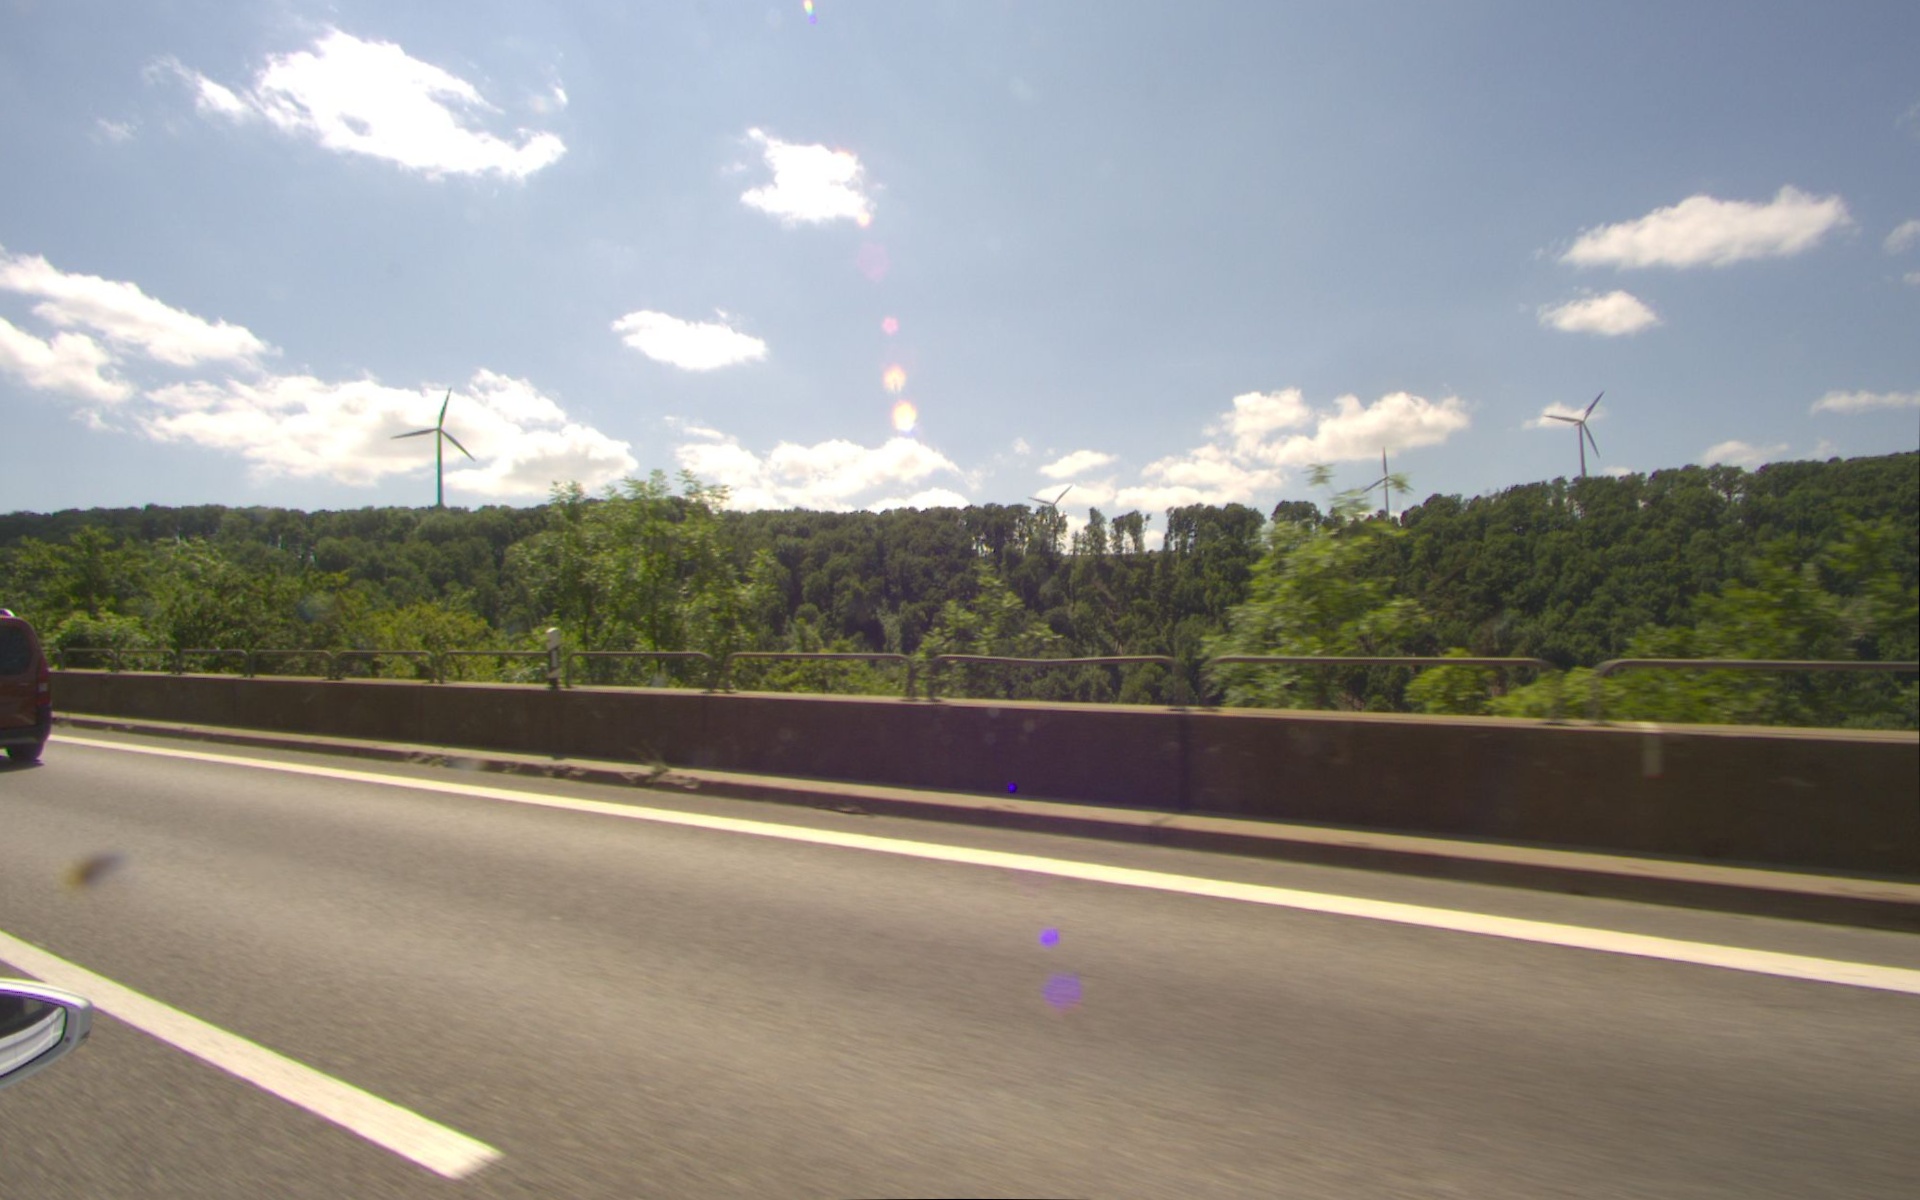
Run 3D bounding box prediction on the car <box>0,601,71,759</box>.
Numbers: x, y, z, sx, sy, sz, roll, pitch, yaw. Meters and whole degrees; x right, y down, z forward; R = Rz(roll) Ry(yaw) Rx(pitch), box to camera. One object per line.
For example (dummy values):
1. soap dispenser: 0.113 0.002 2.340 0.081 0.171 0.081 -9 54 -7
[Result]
1. car: -13.069 0.980 12.384 4.608 1.807 1.830 -2 -1 31
